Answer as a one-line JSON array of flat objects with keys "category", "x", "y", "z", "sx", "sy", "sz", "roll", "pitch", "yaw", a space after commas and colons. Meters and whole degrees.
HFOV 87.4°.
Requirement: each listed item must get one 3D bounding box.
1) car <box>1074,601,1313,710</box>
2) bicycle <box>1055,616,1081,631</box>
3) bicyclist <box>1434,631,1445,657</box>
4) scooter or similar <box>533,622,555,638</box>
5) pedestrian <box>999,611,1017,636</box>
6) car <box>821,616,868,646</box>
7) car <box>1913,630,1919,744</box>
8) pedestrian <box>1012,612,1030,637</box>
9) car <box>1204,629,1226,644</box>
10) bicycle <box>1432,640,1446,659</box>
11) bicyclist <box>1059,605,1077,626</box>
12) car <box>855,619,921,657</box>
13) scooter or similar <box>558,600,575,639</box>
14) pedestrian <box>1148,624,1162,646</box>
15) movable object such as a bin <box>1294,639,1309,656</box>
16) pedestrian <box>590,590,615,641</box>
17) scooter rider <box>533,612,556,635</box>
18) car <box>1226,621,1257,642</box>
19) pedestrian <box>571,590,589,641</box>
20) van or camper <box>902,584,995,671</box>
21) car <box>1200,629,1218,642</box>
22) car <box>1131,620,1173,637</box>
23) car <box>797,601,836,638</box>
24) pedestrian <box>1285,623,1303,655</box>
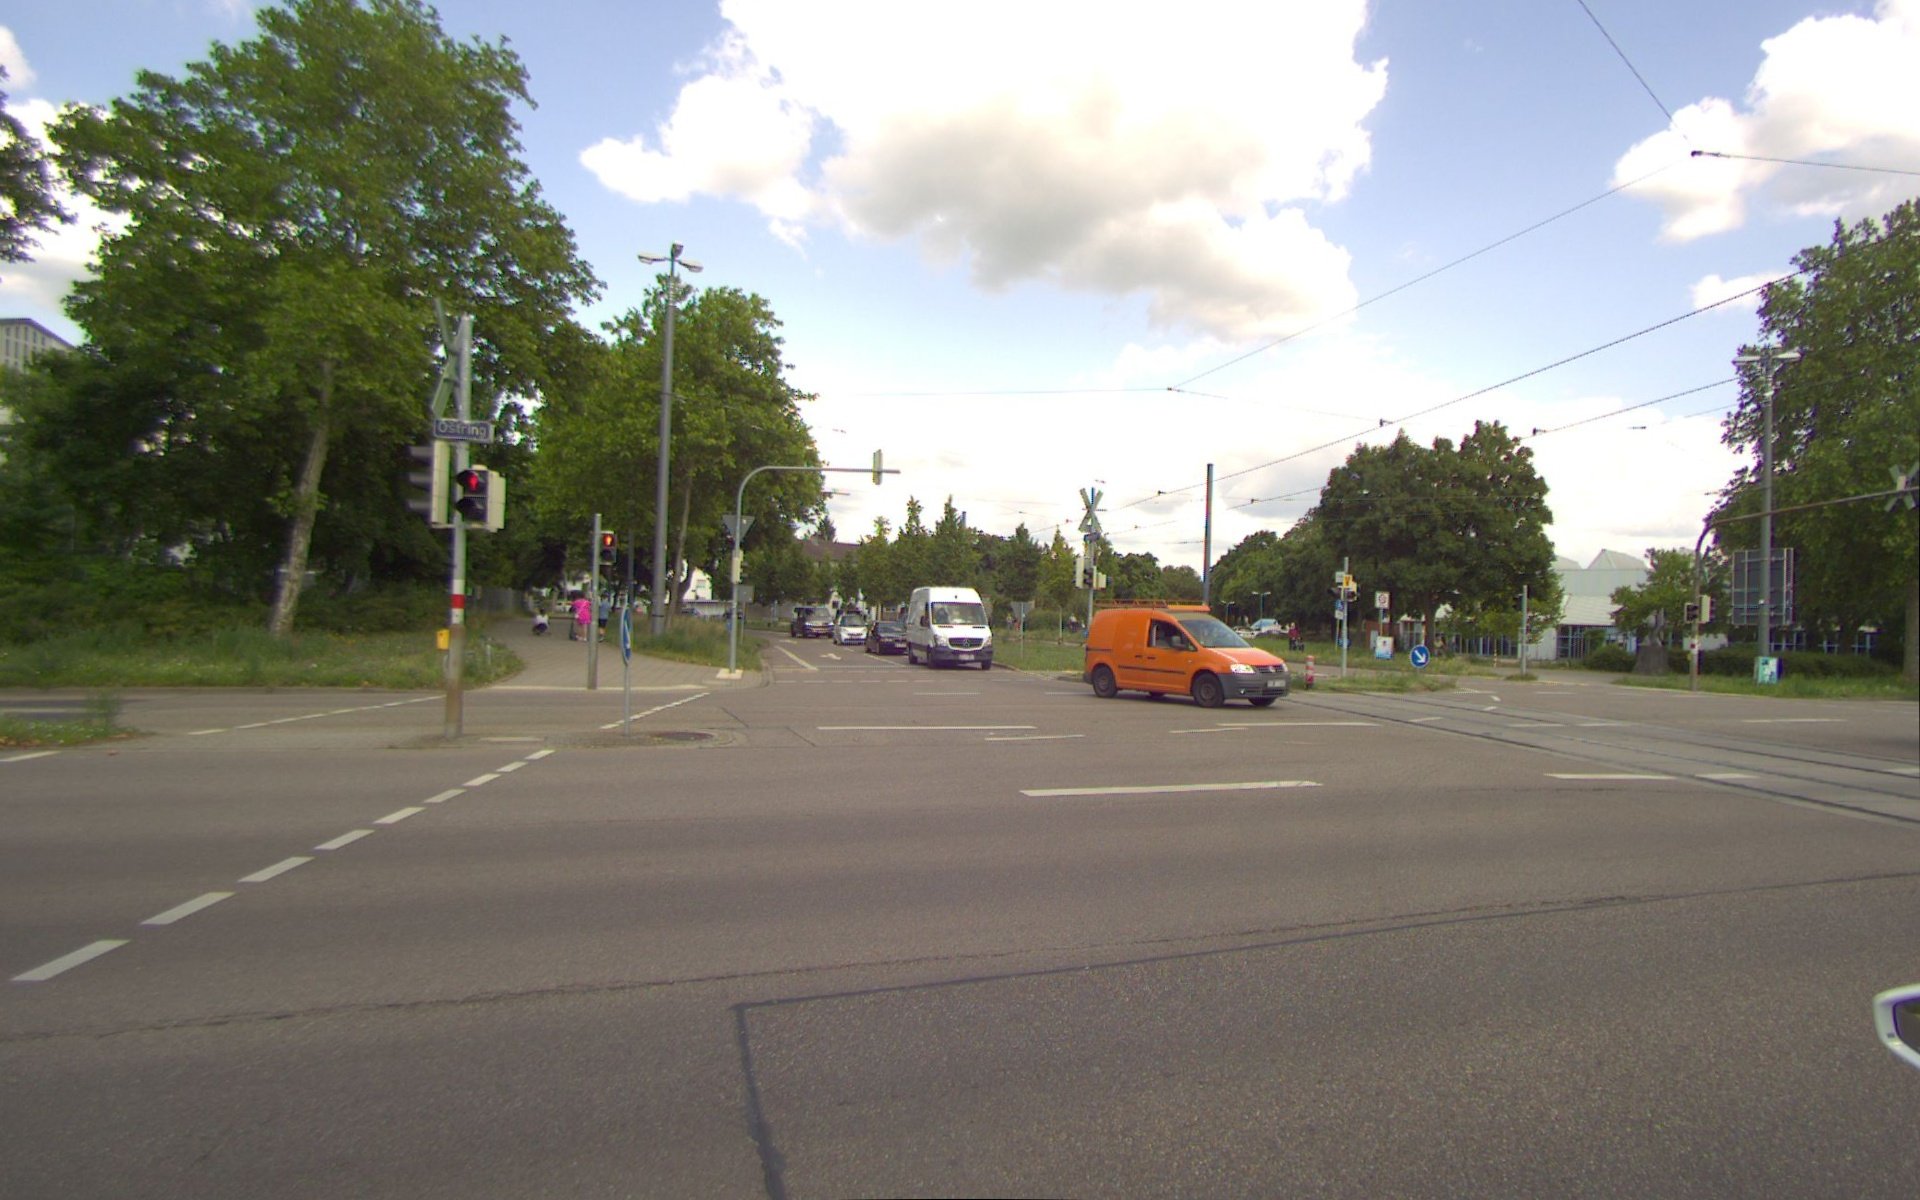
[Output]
[{"category": "car", "x": 4.358, "y": 0.979, "z": 19.387, "sx": 1.866, "sy": 1.823, "sz": 4.326, "roll": 2, "pitch": -1, "yaw": -35}, {"category": "bicycle", "x": 8.115, "y": 1.741, "z": 75.574, "sx": 0.940, "sy": 1.054, "sz": 1.969, "roll": 2, "pitch": -1, "yaw": -29}, {"category": "bicyclist", "x": 29.856, "y": 2.729, "z": 62.579, "sx": 0.477, "sy": 1.574, "sz": 0.556, "roll": 3, "pitch": 0, "yaw": 16}, {"category": "scooter or similar", "x": -14.092, "y": 1.014, "z": 34.066, "sx": 0.601, "sy": 0.518, "sz": 0.855, "roll": 0, "pitch": 0, "yaw": -16}, {"category": "pedestrian", "x": 3.944, "y": 1.950, "z": 82.701, "sx": 1.090, "sy": 2.040, "sz": 1.171, "roll": 2, "pitch": -1, "yaw": -22}, {"category": "car", "x": -6.182, "y": 1.598, "z": 53.361, "sx": 1.782, "sy": 1.450, "sz": 4.368, "roll": 2, "pitch": -1, "yaw": -16}, {"category": "car", "x": 15.739, "y": 1.298, "z": 13.518, "sx": 3.970, "sy": 1.652, "sz": 1.737, "roll": 2, "pitch": -1, "yaw": 7}, {"category": "pedestrian", "x": 5.030, "y": 2.003, "z": 83.151, "sx": 1.090, "sy": 2.040, "sz": 1.171, "roll": 2, "pitch": -1, "yaw": -22}, {"category": "car", "x": 29.680, "y": 4.243, "z": 117.103, "sx": 1.959, "sy": 1.661, "sz": 4.394, "roll": 2, "pitch": -1, "yaw": 9}, {"category": "bicycle", "x": 29.842, "y": 3.052, "z": 62.569, "sx": 0.551, "sy": 1.145, "sz": 1.380, "roll": 1, "pitch": -1, "yaw": 16}, {"category": "bicyclist", "x": 8.129, "y": 1.149, "z": 75.581, "sx": 0.952, "sy": 1.509, "sz": 0.829, "roll": 2, "pitch": -1, "yaw": -29}, {"category": "car", "x": -3.096, "y": 1.581, "z": 42.436, "sx": 1.783, "sy": 1.450, "sz": 4.453, "roll": 2, "pitch": -2, "yaw": -17}, {"category": "scooter or similar", "x": -12.836, "y": 0.625, "z": 32.781, "sx": 0.316, "sy": 1.248, "sz": 0.775, "roll": 0, "pitch": 0, "yaw": -6}, {"category": "pedestrian", "x": 12.860, "y": 2.298, "z": 66.254, "sx": 0.640, "sy": 1.372, "sz": 0.749, "roll": 0, "pitch": 0, "yaw": -17}, {"category": "movable object such as a bin", "x": 17.816, "y": 2.467, "z": 52.369, "sx": 0.572, "sy": 0.822, "sz": 0.456, "roll": 0, "pitch": 0, "yaw": -30}, {"category": "pedestrian", "x": -11.675, "y": 0.508, "z": 32.774, "sx": 0.621, "sy": 1.641, "sz": 0.610, "roll": 1, "pitch": 0, "yaw": -8}, {"category": "scooter rider", "x": -14.089, "y": 0.789, "z": 34.069, "sx": 0.602, "sy": 0.738, "sz": 0.856, "roll": 0, "pitch": 0, "yaw": -16}, {"category": "car", "x": 24.019, "y": 2.646, "z": 85.835, "sx": 1.959, "sy": 1.661, "sz": 4.394, "roll": 2, "pitch": -1, "yaw": 9}, {"category": "pedestrian", "x": -12.396, "y": 0.504, "z": 32.765, "sx": 0.414, "sy": 1.641, "sz": 0.595, "roll": 1, "pitch": 0, "yaw": -8}, {"category": "van or camper", "x": -0.501, "y": 0.843, "z": 32.707, "sx": 1.947, "sy": 2.558, "sz": 6.025, "roll": 0, "pitch": -1, "yaw": -11}, {"category": "car", "x": 34.069, "y": 4.816, "z": 137.446, "sx": 1.959, "sy": 1.661, "sz": 4.394, "roll": 2, "pitch": -1, "yaw": 9}, {"category": "car", "x": 18.722, "y": 2.781, "z": 98.058, "sx": 3.919, "sy": 1.550, "sz": 2.001, "roll": 2, "pitch": -1, "yaw": 9}, {"category": "car", "x": -9.065, "y": 1.223, "z": 63.149, "sx": 1.825, "sy": 2.184, "sz": 4.368, "roll": 2, "pitch": -1, "yaw": -16}, {"category": "pedestrian", "x": 17.569, "y": 2.039, "z": 52.799, "sx": 0.606, "sy": 1.666, "sz": 0.633, "roll": 0, "pitch": 0, "yaw": -31}]
